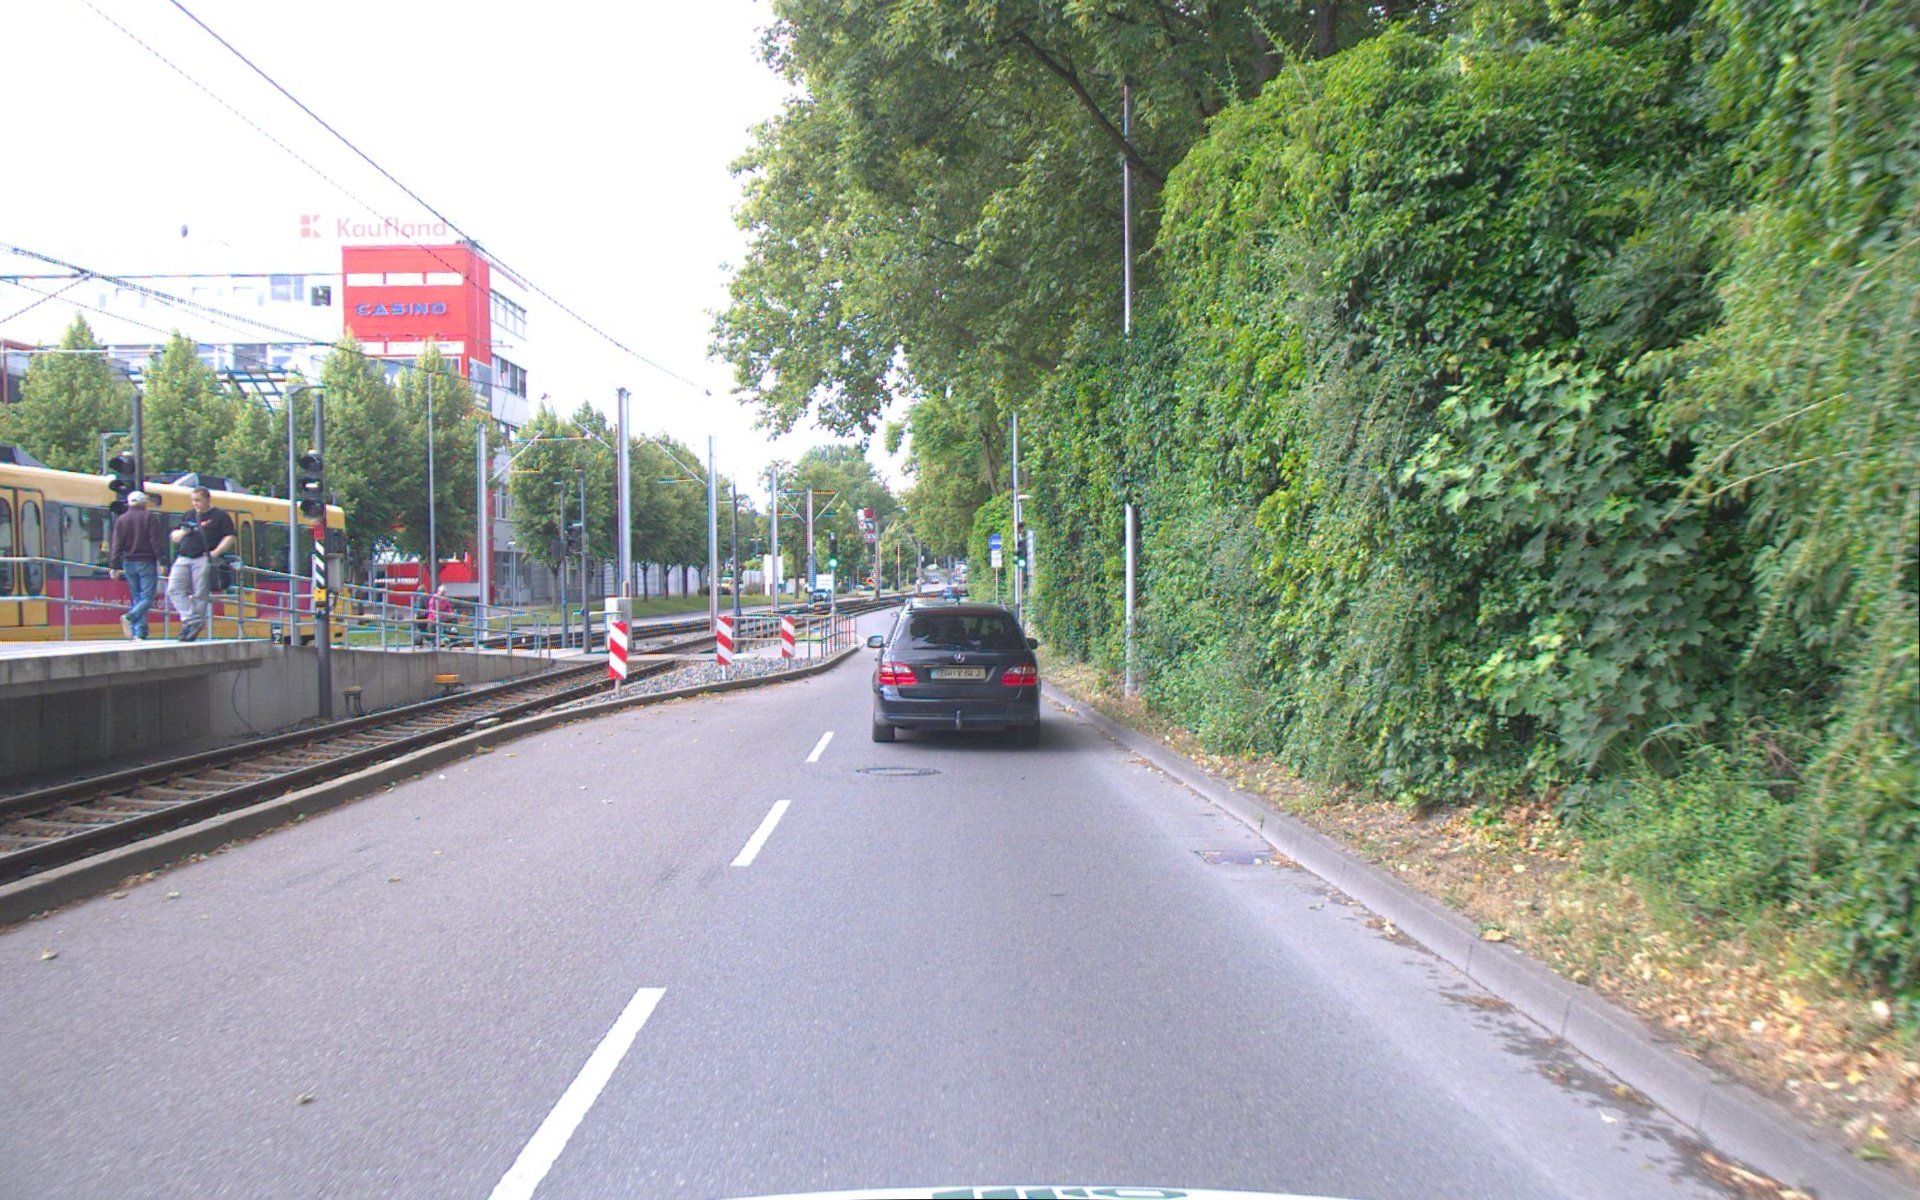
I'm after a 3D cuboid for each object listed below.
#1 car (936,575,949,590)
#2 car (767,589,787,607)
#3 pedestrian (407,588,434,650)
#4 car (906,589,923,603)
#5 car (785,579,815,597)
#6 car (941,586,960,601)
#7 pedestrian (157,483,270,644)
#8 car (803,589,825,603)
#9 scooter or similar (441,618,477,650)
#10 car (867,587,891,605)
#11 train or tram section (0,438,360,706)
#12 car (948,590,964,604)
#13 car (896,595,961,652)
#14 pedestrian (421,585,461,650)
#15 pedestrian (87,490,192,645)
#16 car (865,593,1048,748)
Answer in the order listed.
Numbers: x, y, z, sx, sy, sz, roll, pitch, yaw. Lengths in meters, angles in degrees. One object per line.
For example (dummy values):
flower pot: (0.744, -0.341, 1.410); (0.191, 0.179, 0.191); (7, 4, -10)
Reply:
car: (-2.466, -2.442, 234.463); (1.853, 2.049, 3.897); (-2, 0, -1)
car: (-22.040, -0.198, 199.419); (1.953, 2.049, 3.999); (-2, 0, -1)
pedestrian: (-14.811, 0.515, 45.400); (0.505, 1.691, 0.466); (-2, 0, 10)
car: (-5.210, -0.486, 189.606); (1.787, 1.556, 3.986); (0, 1, 1)
car: (-21.408, -1.579, 220.919); (3.910, 2.160, 1.998); (-2, 0, -6)
car: (-0.960, -0.668, 167.300); (1.787, 1.556, 4.416); (-1, 0, 1)
pedestrian: (-8.207, -0.397, 18.190); (0.732, 1.707, 0.871); (-2, 0, 43)
car: (-14.916, -0.405, 169.151); (1.625, 1.417, 3.721); (0, 0, 4)
scooter or similar: (-13.159, 0.886, 43.441); (0.485, 0.781, 0.799); (-2, 0, 20)
car: (-7.101, -0.370, 145.280); (1.787, 1.556, 3.928); (0, 1, 1)
train or tram section: (-15.241, -0.380, 28.345); (2.700, 3.895, 18.634); (-2, 0, 1)
car: (-0.427, -0.362, 184.501); (1.787, 1.556, 3.928); (0, 1, 1)
car: (-0.922, 0.650, 48.191); (1.788, 1.556, 4.415); (0, 1, -1)
pedestrian: (-13.686, 0.465, 43.648); (0.600, 1.683, 0.796); (-2, 0, 20)
pedestrian: (-9.364, -0.366, 18.906); (0.755, 1.707, 0.790); (-2, 0, -1)
car: (-0.032, 0.687, 18.458); (1.796, 1.504, 4.416); (0, 0, 0)
